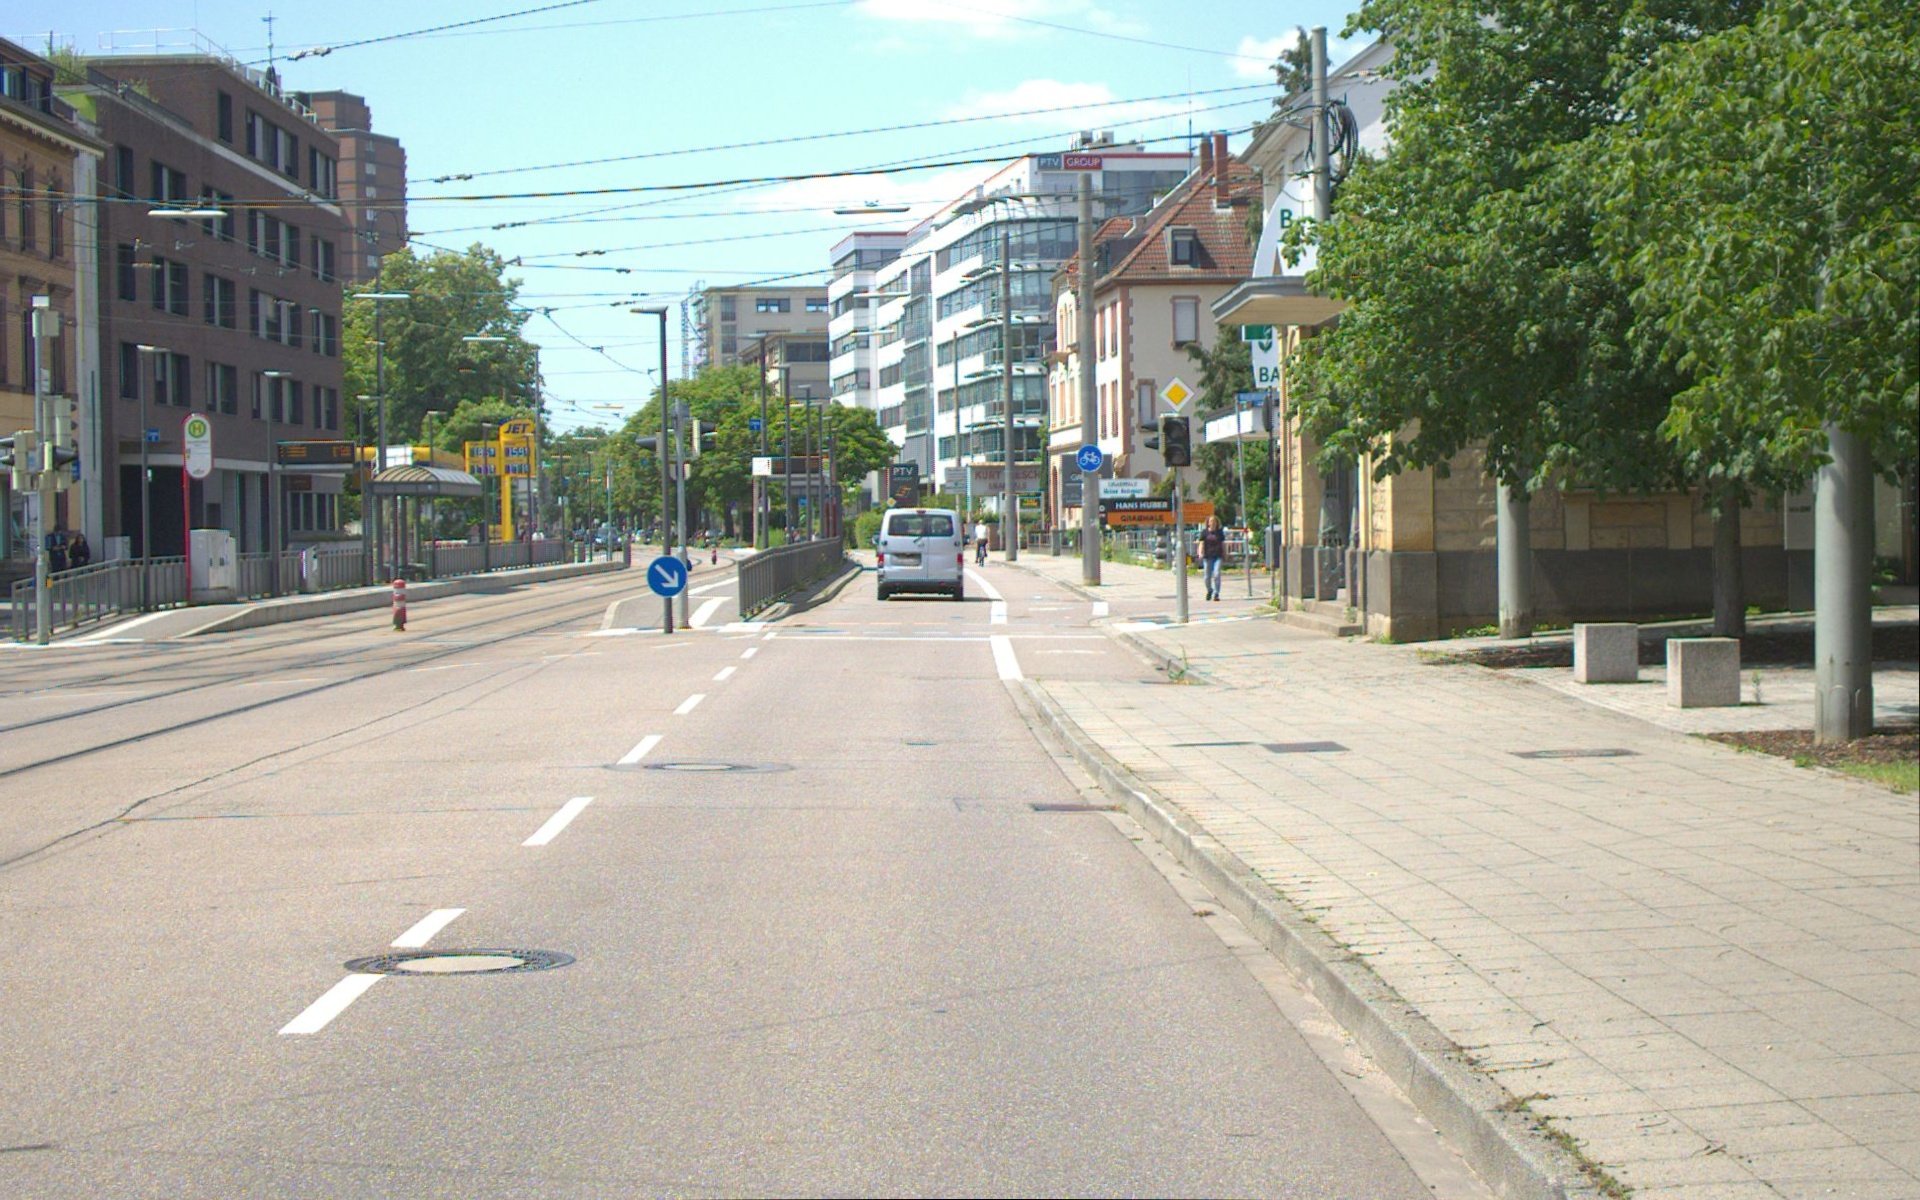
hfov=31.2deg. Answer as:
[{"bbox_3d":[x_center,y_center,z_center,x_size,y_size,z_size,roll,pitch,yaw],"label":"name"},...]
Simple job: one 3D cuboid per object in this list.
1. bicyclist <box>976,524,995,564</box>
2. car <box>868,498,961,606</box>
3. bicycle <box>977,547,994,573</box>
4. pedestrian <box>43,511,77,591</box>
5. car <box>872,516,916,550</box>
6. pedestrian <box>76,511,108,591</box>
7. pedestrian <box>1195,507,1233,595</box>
[{"bbox_3d":[0.908,-1.996,121.670,0.591,1.392,0.842,-1,1,-4],"label":"bicyclist"},{"bbox_3d":[-0.894,-0.998,69.008,1.752,2.006,4.001,-2,2,0],"label":"car"},{"bbox_3d":[0.907,-1.406,121.802,0.465,0.884,2.048,-1,2,-3],"label":"bicycle"},{"bbox_3d":[-22.724,-1.233,86.791,0.617,2.007,0.810,-1,1,-2],"label":"pedestrian"},{"bbox_3d":[-3.459,-3.495,179.318,1.863,1.681,5.001,-2,2,-6],"label":"car"},{"bbox_3d":[-21.964,-1.243,86.999,0.676,2.007,0.685,0,1,-2],"label":"pedestrian"},{"bbox_3d":[4.580,-0.881,62.002,0.577,1.550,0.786,-3,1,3],"label":"pedestrian"}]
